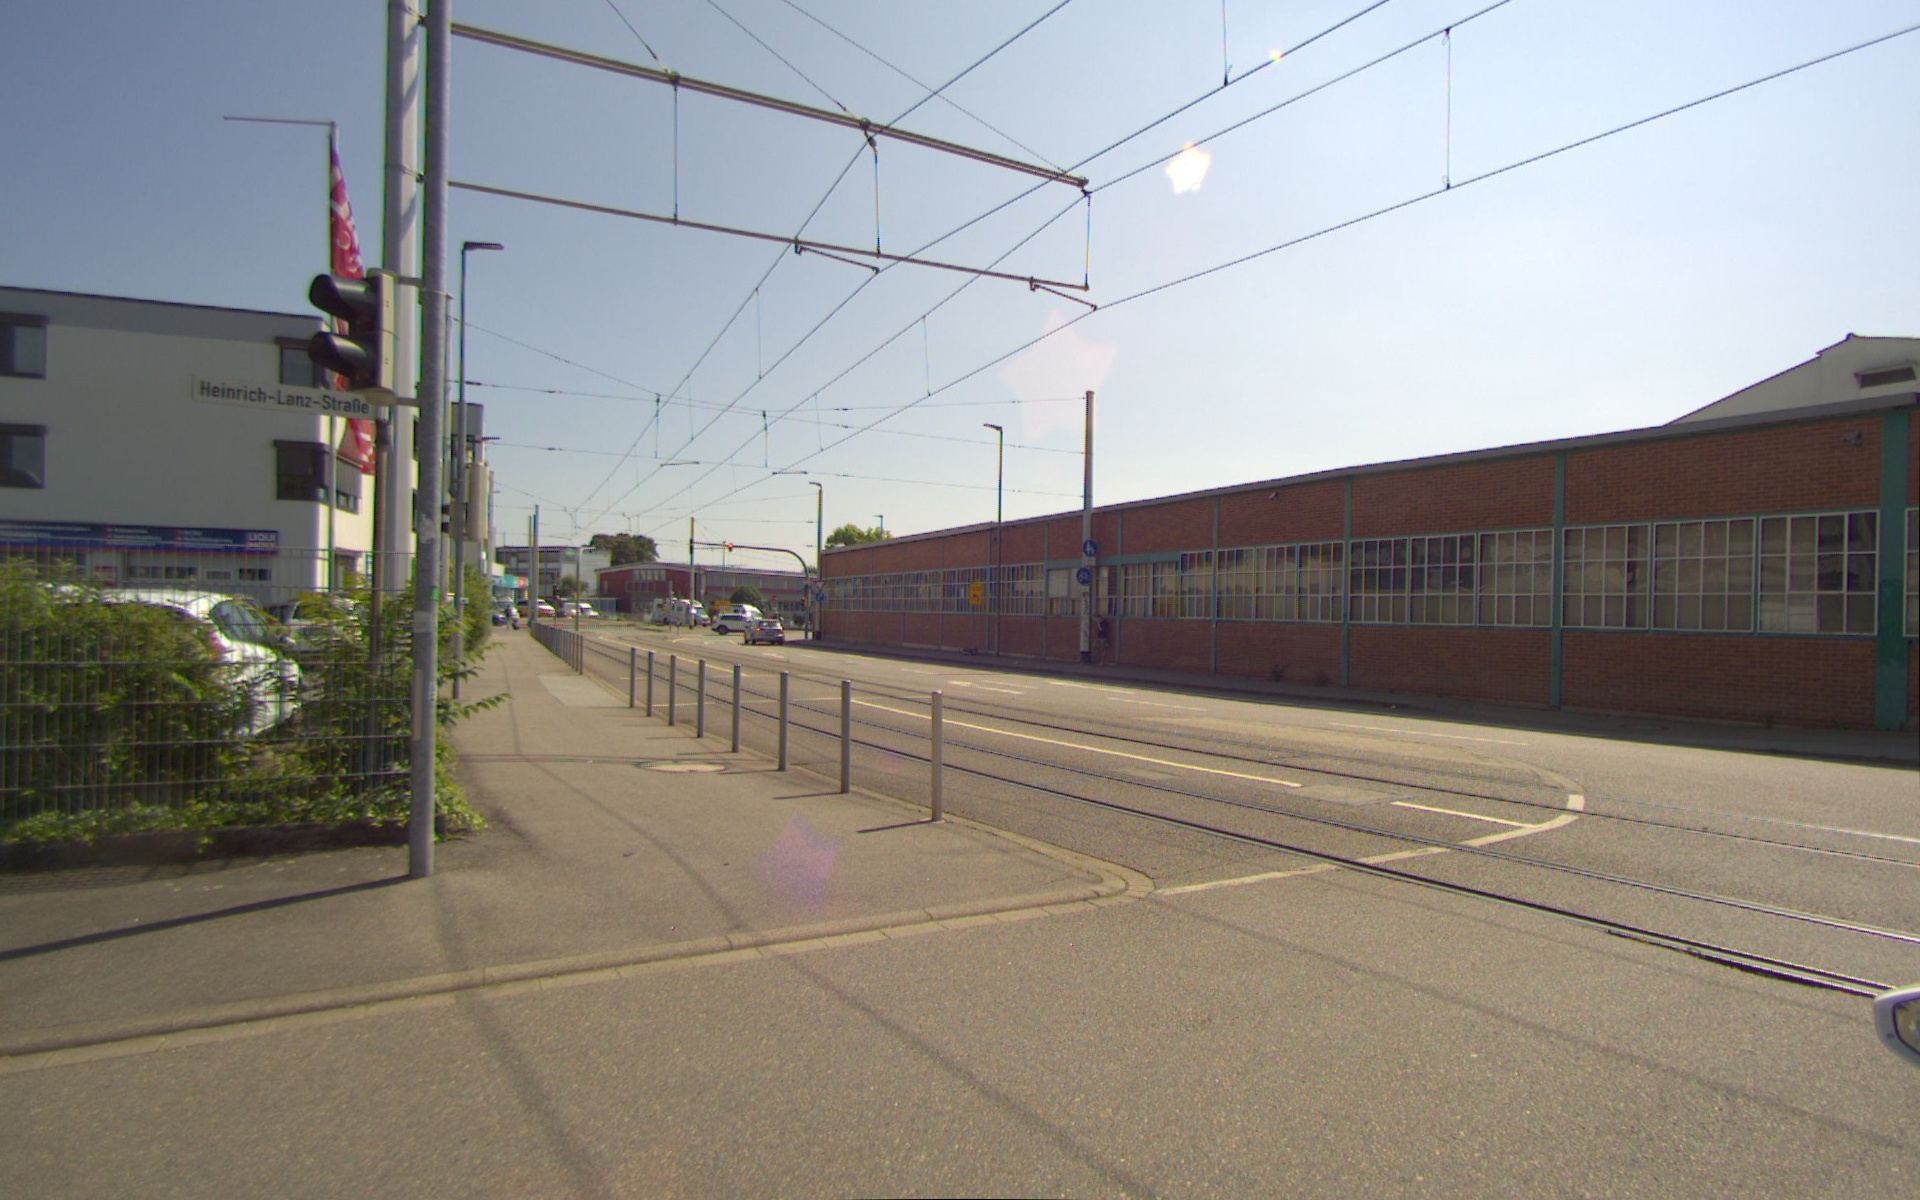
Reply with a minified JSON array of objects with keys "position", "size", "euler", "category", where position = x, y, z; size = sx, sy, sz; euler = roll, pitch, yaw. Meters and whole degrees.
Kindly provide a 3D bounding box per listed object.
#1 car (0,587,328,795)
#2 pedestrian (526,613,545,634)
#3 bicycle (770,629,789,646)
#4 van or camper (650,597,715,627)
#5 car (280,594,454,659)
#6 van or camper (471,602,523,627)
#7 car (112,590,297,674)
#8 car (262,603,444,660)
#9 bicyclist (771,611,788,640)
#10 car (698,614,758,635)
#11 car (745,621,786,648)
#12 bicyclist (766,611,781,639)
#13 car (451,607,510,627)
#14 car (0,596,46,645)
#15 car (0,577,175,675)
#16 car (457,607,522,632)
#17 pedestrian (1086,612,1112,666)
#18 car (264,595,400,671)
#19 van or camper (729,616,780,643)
[{"position":[-7.025,0.702,9.049],"size":[1.690,1.452,3.931],"euler":[2,-2,-25],"category":"car"},{"position":[-30.585,1.712,72.361],"size":[1.122,1.474,0.830],"euler":[1,-1,-35],"category":"pedestrian"},{"position":[-11.402,2.362,63.307],"size":[0.785,1.035,2.141],"euler":[2,-1,-20],"category":"bicycle"},{"position":[-30.413,1.287,110.127],"size":[6.852,2.970,2.352],"euler":[3,1,24],"category":"van or camper"},{"position":[-16.588,0.766,28.345],"size":[3.943,1.728,1.989],"euler":[1,-1,-23],"category":"car"},{"position":[-44.658,1.420,96.871],"size":[5.718,2.327,2.031],"euler":[0,-1,36],"category":"van or camper"},{"position":[-15.699,0.655,21.133],"size":[1.827,1.589,3.921],"euler":[1,-1,-17],"category":"car"},{"position":[-15.718,0.820,26.248],"size":[3.780,1.388,1.739],"euler":[2,-1,-22],"category":"car"},{"position":[-11.373,1.600,63.229],"size":[0.776,1.744,1.141],"euler":[2,-1,-21],"category":"bicyclist"},{"position":[-17.988,1.904,77.984],"size":[4.313,1.599,1.998],"euler":[1,-1,-8],"category":"car"},{"position":[-11.360,1.983,58.562],"size":[1.725,1.478,3.981],"euler":[1,-1,-20],"category":"car"},{"position":[-12.147,1.625,65.366],"size":[0.700,1.834,0.978],"euler":[2,-1,-22],"category":"bicyclist"},{"position":[-38.496,1.379,80.716],"size":[3.934,1.528,1.873],"euler":[1,-1,-16],"category":"car"},{"position":[-28.904,0.592,29.686],"size":[1.397,1.445,3.124],"euler":[1,-1,-13],"category":"car"},{"position":[-18.047,0.508,20.394],"size":[1.968,1.808,3.986],"euler":[1,-1,-17],"category":"car"},{"position":[-32.970,1.380,70.464],"size":[3.942,1.539,1.990],"euler":[2,1,-22],"category":"car"},{"position":[4.676,1.303,33.801],"size":[0.675,1.788,0.447],"euler":[2,1,-18],"category":"pedestrian"},{"position":[-14.150,0.721,22.860],"size":[1.714,1.562,3.821],"euler":[1,-1,-18],"category":"car"},{"position":[-22.664,3.195,110.678],"size":[5.289,2.473,2.285],"euler":[4,2,30],"category":"van or camper"}]
